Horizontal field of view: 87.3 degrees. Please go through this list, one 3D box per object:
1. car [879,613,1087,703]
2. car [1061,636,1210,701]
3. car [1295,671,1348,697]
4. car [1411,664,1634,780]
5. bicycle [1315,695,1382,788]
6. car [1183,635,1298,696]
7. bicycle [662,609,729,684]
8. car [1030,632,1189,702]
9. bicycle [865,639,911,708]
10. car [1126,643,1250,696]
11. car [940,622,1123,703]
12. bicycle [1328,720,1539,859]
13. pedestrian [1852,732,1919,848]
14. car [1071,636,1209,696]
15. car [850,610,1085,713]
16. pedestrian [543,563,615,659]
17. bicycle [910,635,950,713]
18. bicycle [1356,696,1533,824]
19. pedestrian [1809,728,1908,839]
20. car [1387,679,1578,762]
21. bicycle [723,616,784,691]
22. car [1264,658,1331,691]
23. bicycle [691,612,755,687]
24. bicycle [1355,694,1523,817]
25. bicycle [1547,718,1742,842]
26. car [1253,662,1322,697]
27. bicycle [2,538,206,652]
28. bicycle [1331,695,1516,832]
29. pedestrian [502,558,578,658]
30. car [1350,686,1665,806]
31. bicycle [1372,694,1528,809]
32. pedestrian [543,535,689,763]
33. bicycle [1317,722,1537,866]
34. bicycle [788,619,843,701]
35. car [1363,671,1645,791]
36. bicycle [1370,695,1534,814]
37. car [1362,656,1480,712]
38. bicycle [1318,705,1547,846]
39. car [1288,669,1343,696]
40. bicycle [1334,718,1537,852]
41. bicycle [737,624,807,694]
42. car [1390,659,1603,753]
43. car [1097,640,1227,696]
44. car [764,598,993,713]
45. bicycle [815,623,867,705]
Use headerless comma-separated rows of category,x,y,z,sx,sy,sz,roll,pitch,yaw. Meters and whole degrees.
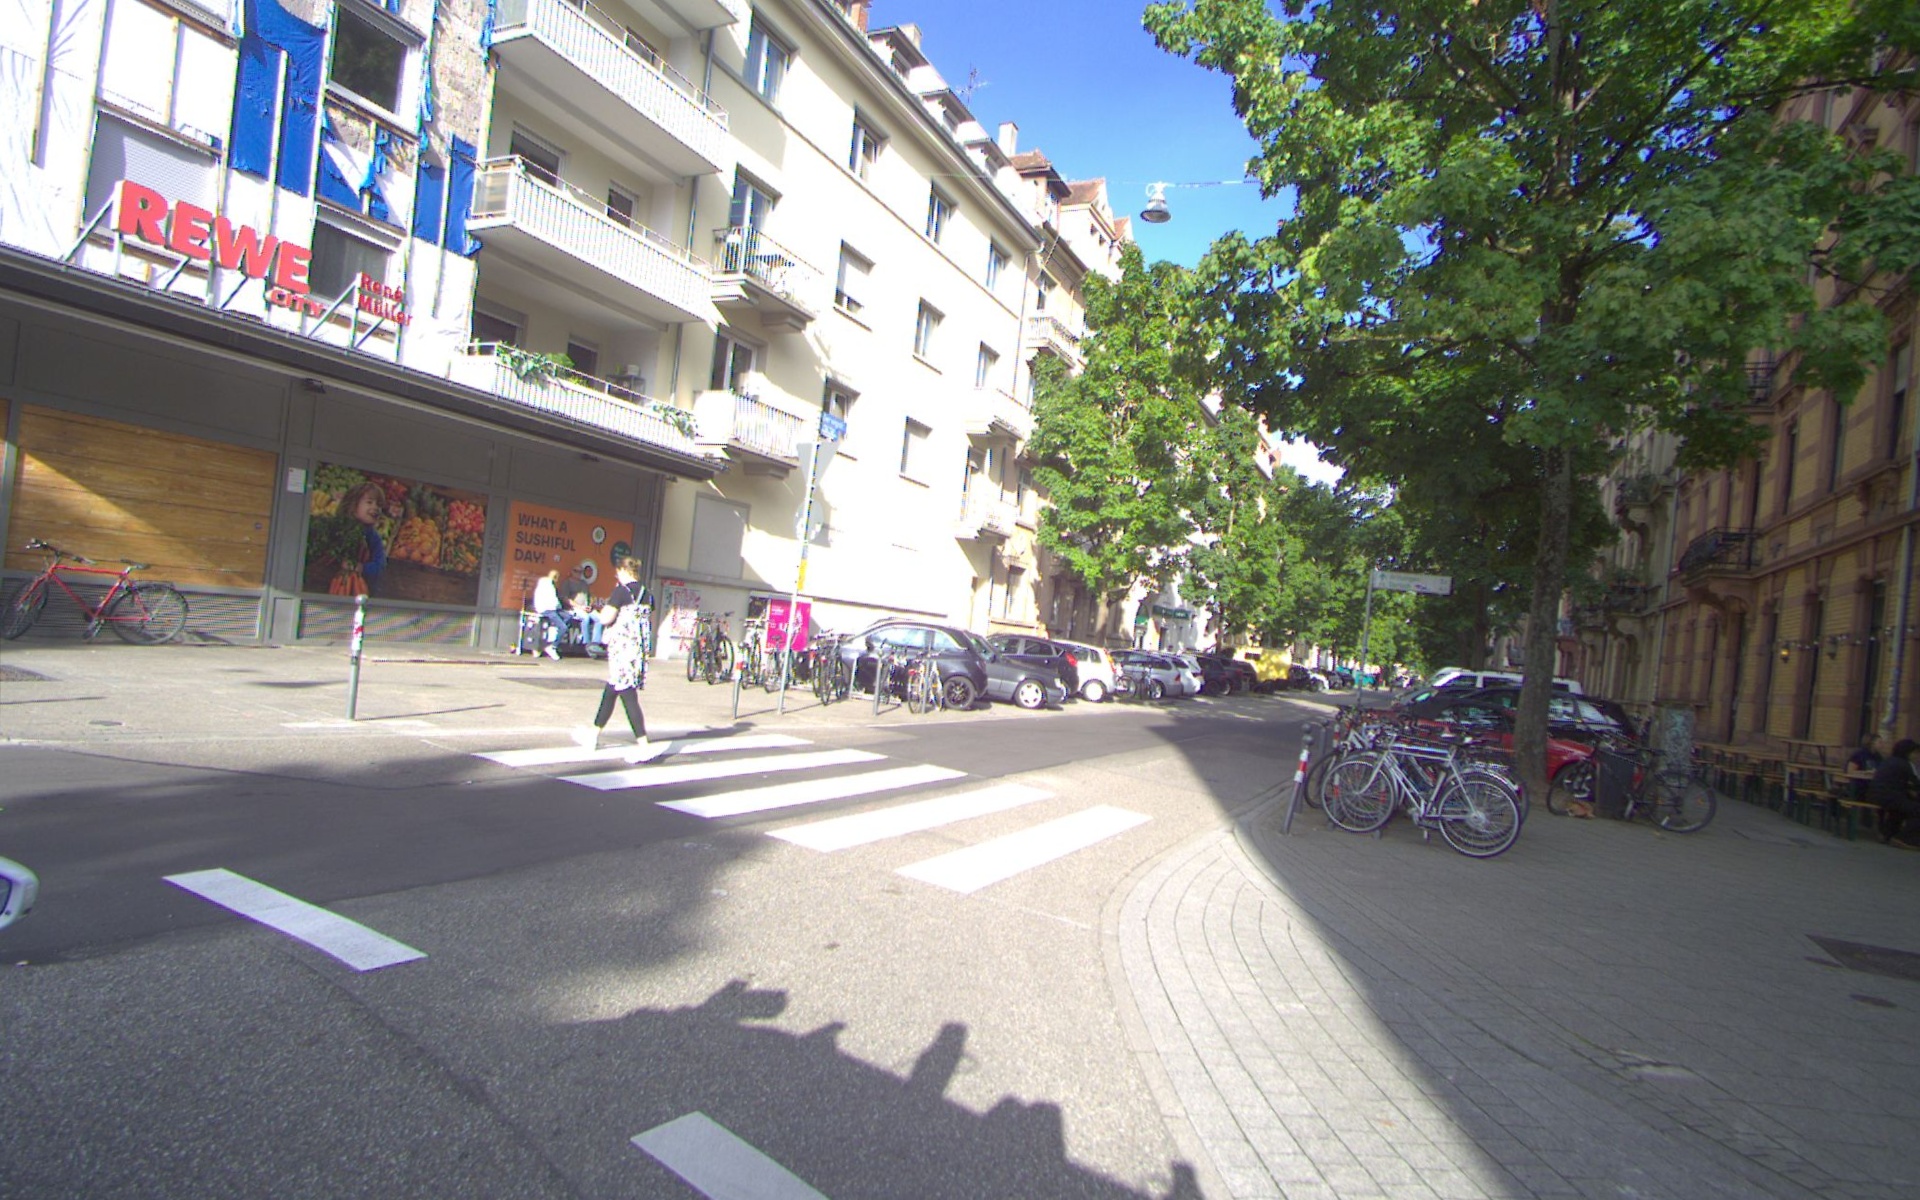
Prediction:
car,0.488,1.345,23.774,4.551,1.450,1.749,8,-1,-8
car,5.864,2.286,33.971,4.545,1.513,1.751,8,-1,-1
car,30.523,7.062,84.934,3.776,1.657,1.737,8,-1,9
car,11.289,2.420,20.404,3.645,1.741,1.860,6,-2,29
bicycle,5.487,1.928,14.113,0.572,1.109,2.497,2,-2,27
car,13.586,3.172,48.969,4.726,2.247,2.147,8,-1,-5
bicycle,-4.230,0.714,16.218,0.413,1.099,1.698,7,0,4
car,4.609,2.059,31.454,4.545,1.513,1.751,8,-1,-1
bicycle,-1.190,1.202,16.782,0.484,1.013,1.424,7,-1,2
car,9.317,2.844,41.326,4.545,1.513,1.751,8,-1,-1
car,1.818,1.628,26.505,4.545,1.450,1.751,8,-1,-1
bicycle,4.437,1.740,9.514,1.688,0.999,0.446,4,-1,40
pedestrian,11.488,2.310,12.223,0.755,1.300,0.629,4,-2,25
car,6.471,2.381,36.509,4.545,1.513,1.751,8,-1,-1
car,0.089,1.266,21.188,4.587,1.472,1.955,8,-1,-8
pedestrian,-6.453,0.192,17.043,0.740,1.524,0.668,6,0,24
bicycle,-0.486,1.213,17.047,0.405,1.190,1.854,7,-1,2
bicycle,5.489,1.797,11.473,1.679,1.216,0.448,5,0,13
pedestrian,11.761,2.377,13.190,0.755,1.300,0.629,4,-2,25
car,11.747,2.689,22.758,3.646,1.474,1.669,2,-4,29
bicycle,-3.327,0.832,16.333,0.413,1.099,1.698,7,0,4
car,22.960,5.047,68.500,3.778,1.657,1.736,8,-1,1
bicycle,-3.829,0.771,16.362,0.413,1.099,1.698,7,0,4
bicycle,5.677,1.825,11.998,1.680,1.216,0.448,5,0,19
bicycle,7.901,2.050,11.711,1.770,1.128,0.599,4,0,31
car,20.817,5.034,64.044,3.776,1.657,1.737,8,-1,9
bicycle,-9.303,-0.033,10.988,0.574,1.045,1.531,8,0,36
bicycle,5.005,1.728,10.941,1.688,1.216,0.446,4,0,40
pedestrian,-6.840,0.138,16.394,0.656,1.524,0.753,6,0,21
car,8.324,2.192,15.662,4.040,1.284,1.568,4,-3,25
bicycle,6.242,1.897,12.854,1.684,1.216,0.447,4,0,31
pedestrian,-2.900,0.411,8.539,0.827,1.774,0.614,7,0,1
bicycle,4.197,1.711,9.127,1.688,0.981,0.446,4,-1,40
bicycle,-2.301,0.937,16.221,0.405,1.190,1.854,7,-1,2
car,9.857,2.306,18.390,4.244,1.588,2.003,3,-3,33
bicycle,6.009,1.867,12.360,1.680,1.216,0.448,5,0,19
car,24.355,4.445,53.229,5.387,2.226,1.999,6,-2,28
bicycle,4.806,1.747,10.353,2.017,1.102,0.446,4,0,40
car,29.076,6.760,82.338,3.776,1.657,1.737,8,-1,9
bicycle,4.644,1.774,9.902,1.688,0.999,0.446,4,-1,40
bicycle,-2.992,0.938,16.109,0.405,1.031,1.503,7,-1,14
car,14.377,2.803,27.329,4.824,2.013,2.046,3,-2,24
car,7.794,2.621,39.029,4.545,1.513,1.751,8,-1,-1
car,-1.444,0.989,18.806,3.927,1.473,1.810,9,1,0
bicycle,-1.893,0.999,16.248,0.405,1.190,1.854,7,-1,2
